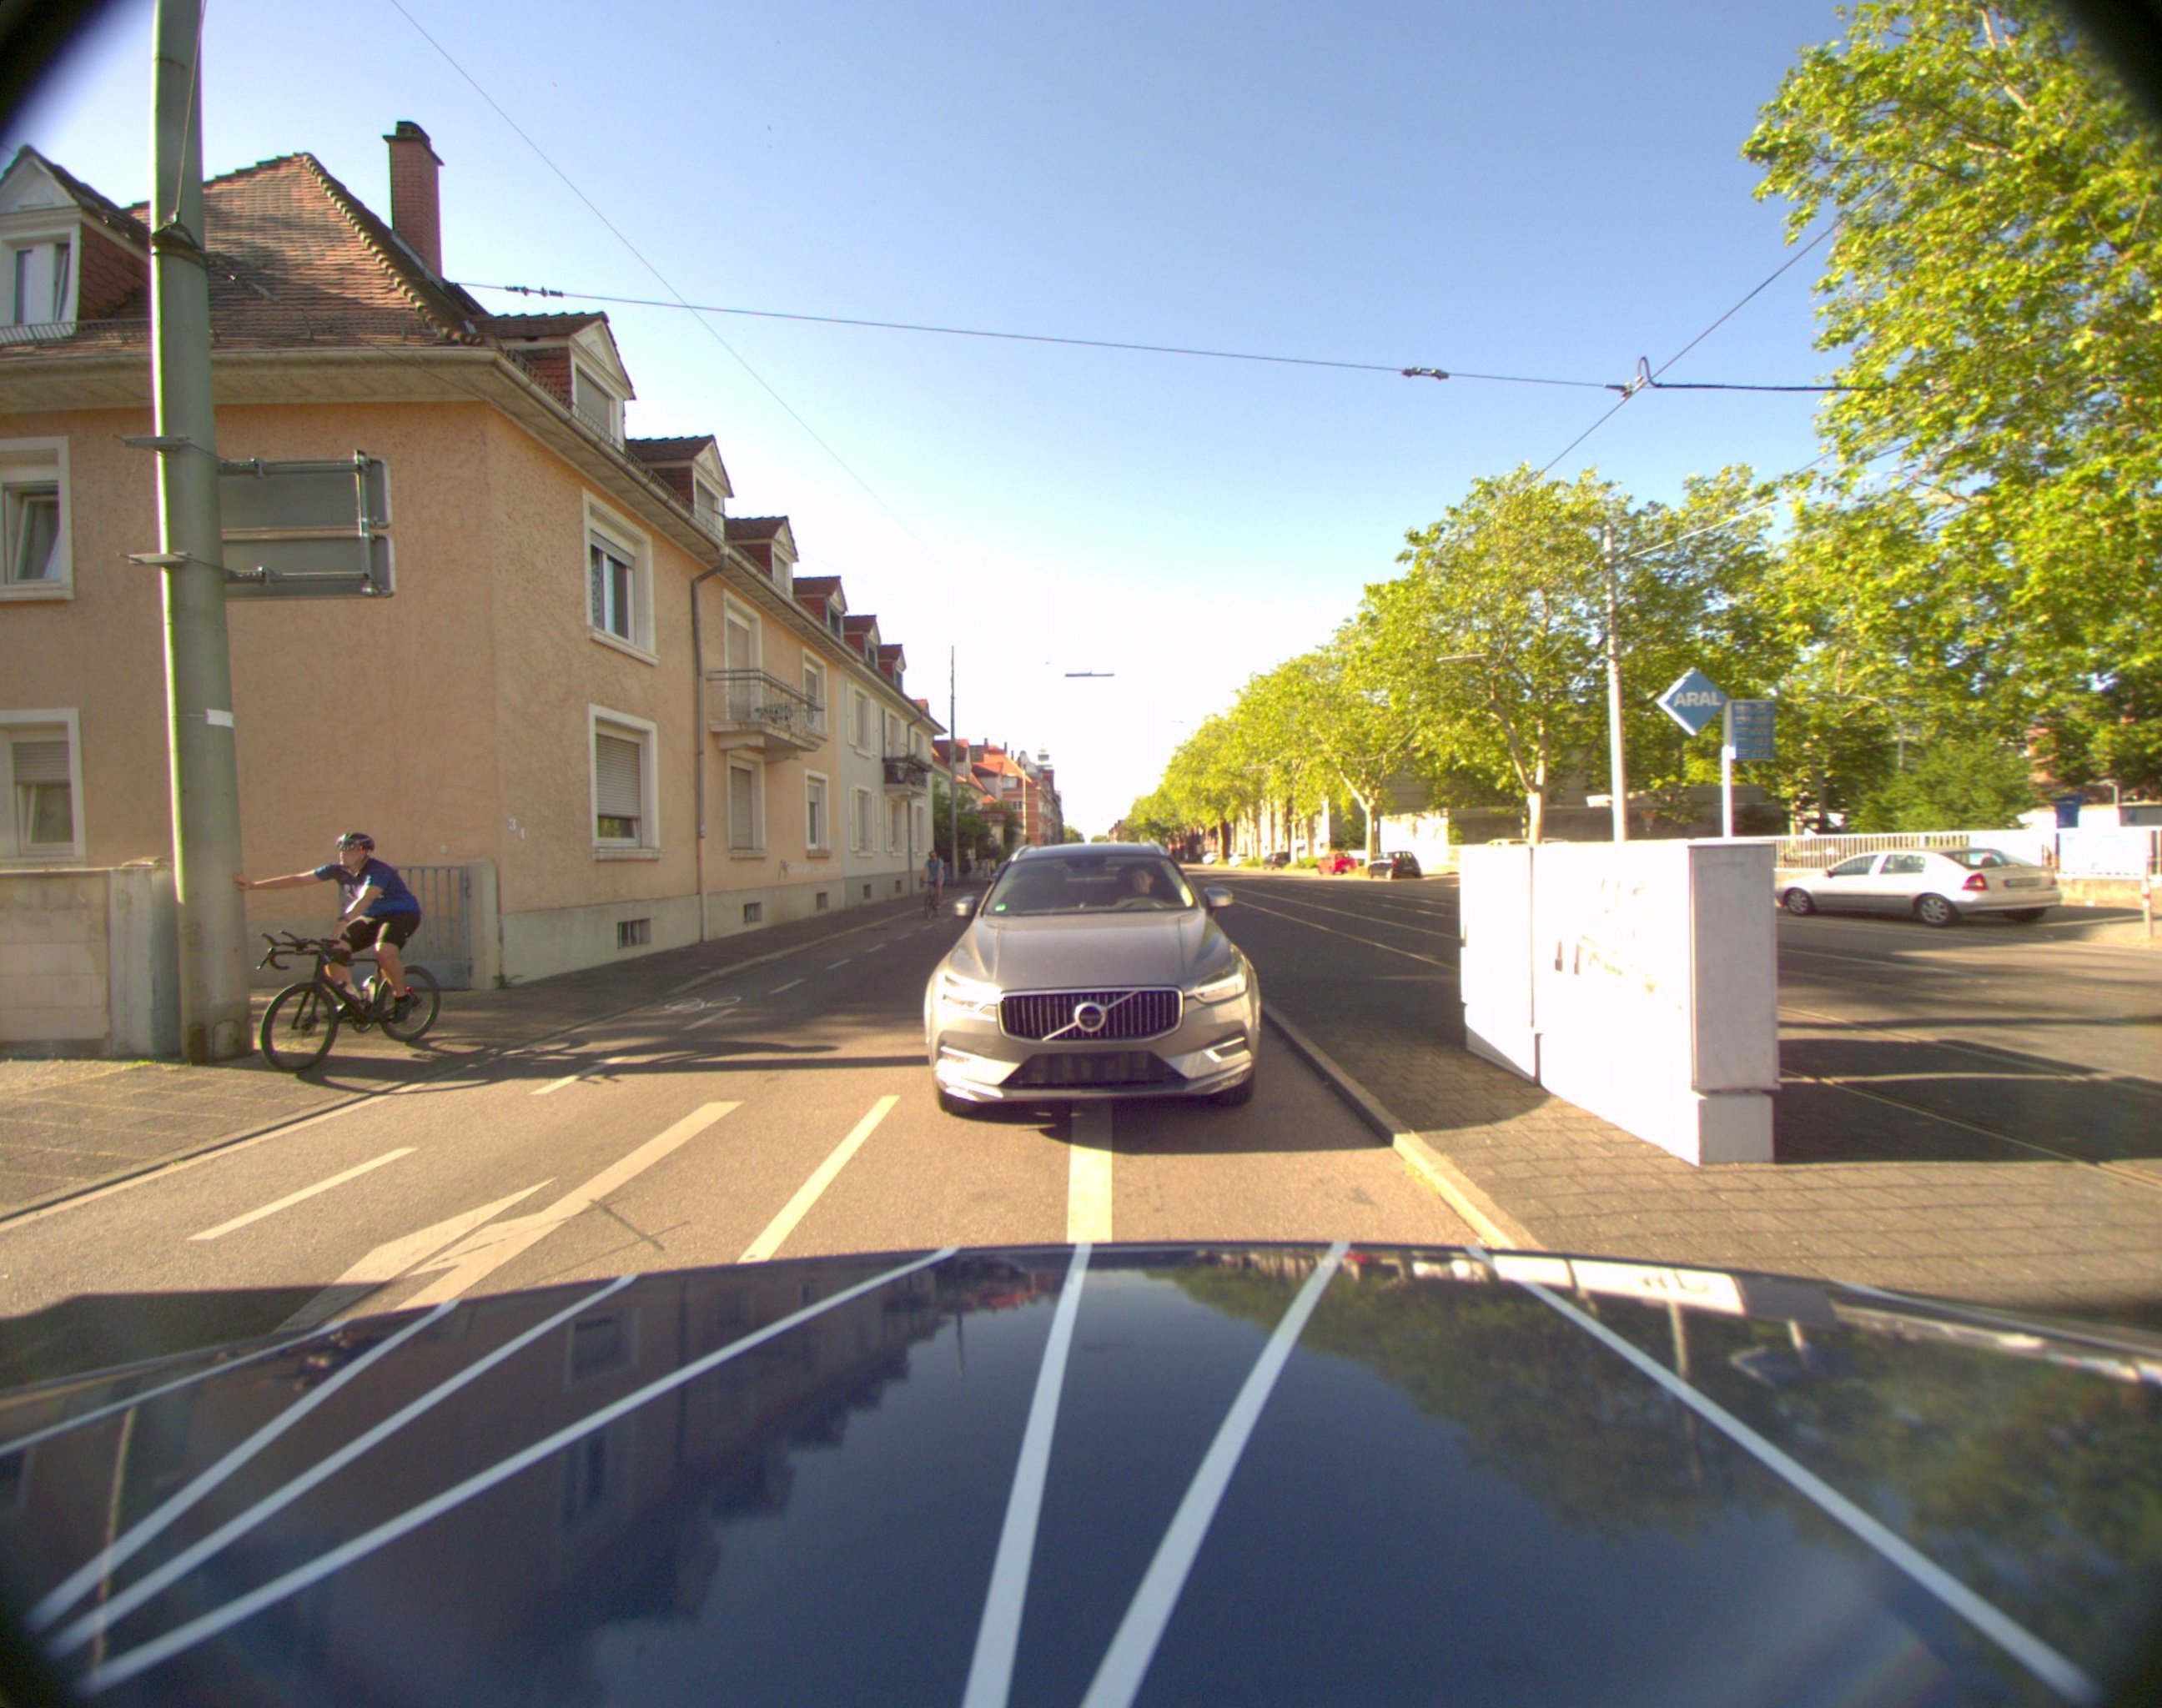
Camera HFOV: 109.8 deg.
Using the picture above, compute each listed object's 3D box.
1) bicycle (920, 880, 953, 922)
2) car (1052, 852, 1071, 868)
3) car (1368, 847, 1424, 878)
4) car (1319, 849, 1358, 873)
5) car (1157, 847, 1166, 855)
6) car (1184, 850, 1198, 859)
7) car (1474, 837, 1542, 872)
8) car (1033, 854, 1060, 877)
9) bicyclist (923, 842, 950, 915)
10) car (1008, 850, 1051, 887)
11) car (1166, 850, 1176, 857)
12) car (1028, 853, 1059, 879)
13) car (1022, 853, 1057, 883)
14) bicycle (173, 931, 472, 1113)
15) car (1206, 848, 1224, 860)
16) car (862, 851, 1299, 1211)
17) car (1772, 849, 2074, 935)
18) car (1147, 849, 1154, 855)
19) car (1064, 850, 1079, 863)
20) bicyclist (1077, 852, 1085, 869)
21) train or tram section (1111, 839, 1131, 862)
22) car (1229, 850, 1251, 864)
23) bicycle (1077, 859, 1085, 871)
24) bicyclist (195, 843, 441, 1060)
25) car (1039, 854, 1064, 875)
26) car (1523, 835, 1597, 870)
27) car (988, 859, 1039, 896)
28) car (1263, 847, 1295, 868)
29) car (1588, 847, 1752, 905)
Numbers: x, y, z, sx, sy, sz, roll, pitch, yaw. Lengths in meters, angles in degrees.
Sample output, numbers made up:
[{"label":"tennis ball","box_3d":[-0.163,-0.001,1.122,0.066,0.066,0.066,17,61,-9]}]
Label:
[{"label":"bicycle","box_3d":[-3.916,1.257,20.694,0.519,1.084,1.796,-1,-2,0]},{"label":"car","box_3d":[-2.161,0.648,85.365,1.793,1.673,3.814,-3,0,2]},{"label":"car","box_3d":[16.879,0.435,40.893,1.599,1.498,3.304,-3,0,1]},{"label":"car","box_3d":[16.871,0.444,49.864,1.599,1.498,2.622,-3,0,1]},{"label":"car","box_3d":[20.221,-0.707,191.412,1.695,1.775,3.749,-3,0,1]},{"label":"car","box_3d":[18.186,0.087,125.520,1.695,1.440,3.749,-3,0,1]},{"label":"car","box_3d":[21.541,0.022,38.471,1.599,1.606,3.304,-2,0,1]},{"label":"car","box_3d":[-2.727,0.897,61.025,1.793,1.673,3.814,-3,0,2]},{"label":"bicyclist","box_3d":[-3.931,0.668,20.718,0.519,1.922,0.946,-1,-2,0]},{"label":"car","box_3d":[-2.830,0.751,42.815,1.793,1.828,5.149,-3,0,2]},{"label":"car","box_3d":[19.252,-0.176,161.874,1.695,1.440,3.749,-3,0,1]},{"label":"car","box_3d":[-2.639,0.845,54.000,1.793,1.673,3.814,-3,0,2]},{"label":"car","box_3d":[-2.591,0.864,48.480,1.793,1.673,3.814,-3,0,2]},{"label":"bicycle","box_3d":[-6.012,1.265,6.196,0.592,1.062,1.775,4,0,1]},{"label":"car","box_3d":[17.782,0.039,100.712,1.695,1.440,3.749,-3,0,1]},{"label":"car","box_3d":[0.027,0.833,5.749,1.998,1.628,4.306,-2,0,1]},{"label":"car","box_3d":[16.222,0.646,14.979,1.695,1.395,3.813,-3,0,1]},{"label":"car","box_3d":[19.636,-0.600,214.805,1.695,1.775,3.749,-3,0,1]},{"label":"car","box_3d":[-1.305,0.380,107.098,1.793,1.673,3.814,-3,0,2]},{"label":"bicyclist","box_3d":[0.030,0.599,70.853,0.685,1.611,0.855,-2,1,1]},{"label":"train or tram section","box_3d":[6.585,-0.627,127.034,2.717,3.643,12.653,-1,0,0]},{"label":"car","box_3d":[17.454,0.304,83.540,1.695,1.440,3.749,-3,0,1]},{"label":"bicycle","box_3d":[0.049,1.033,70.852,0.685,1.098,1.806,-2,1,1]},{"label":"bicyclist","box_3d":[-6.208,0.749,6.253,1.051,1.599,0.885,4,0,1]},{"label":"car","box_3d":[-2.560,0.871,67.070,1.793,1.673,3.814,-3,0,2]},{"label":"car","box_3d":[23.874,-0.074,38.023,1.599,1.583,3.304,-2,0,1]},{"label":"car","box_3d":[-3.228,1.093,37.042,1.695,1.571,3.815,-3,0,5]},{"label":"car","box_3d":[17.129,0.284,65.886,1.695,1.648,3.749,-3,0,1]},{"label":"car","box_3d":[16.407,0.567,21.414,1.695,1.395,3.749,-3,0,1]}]
